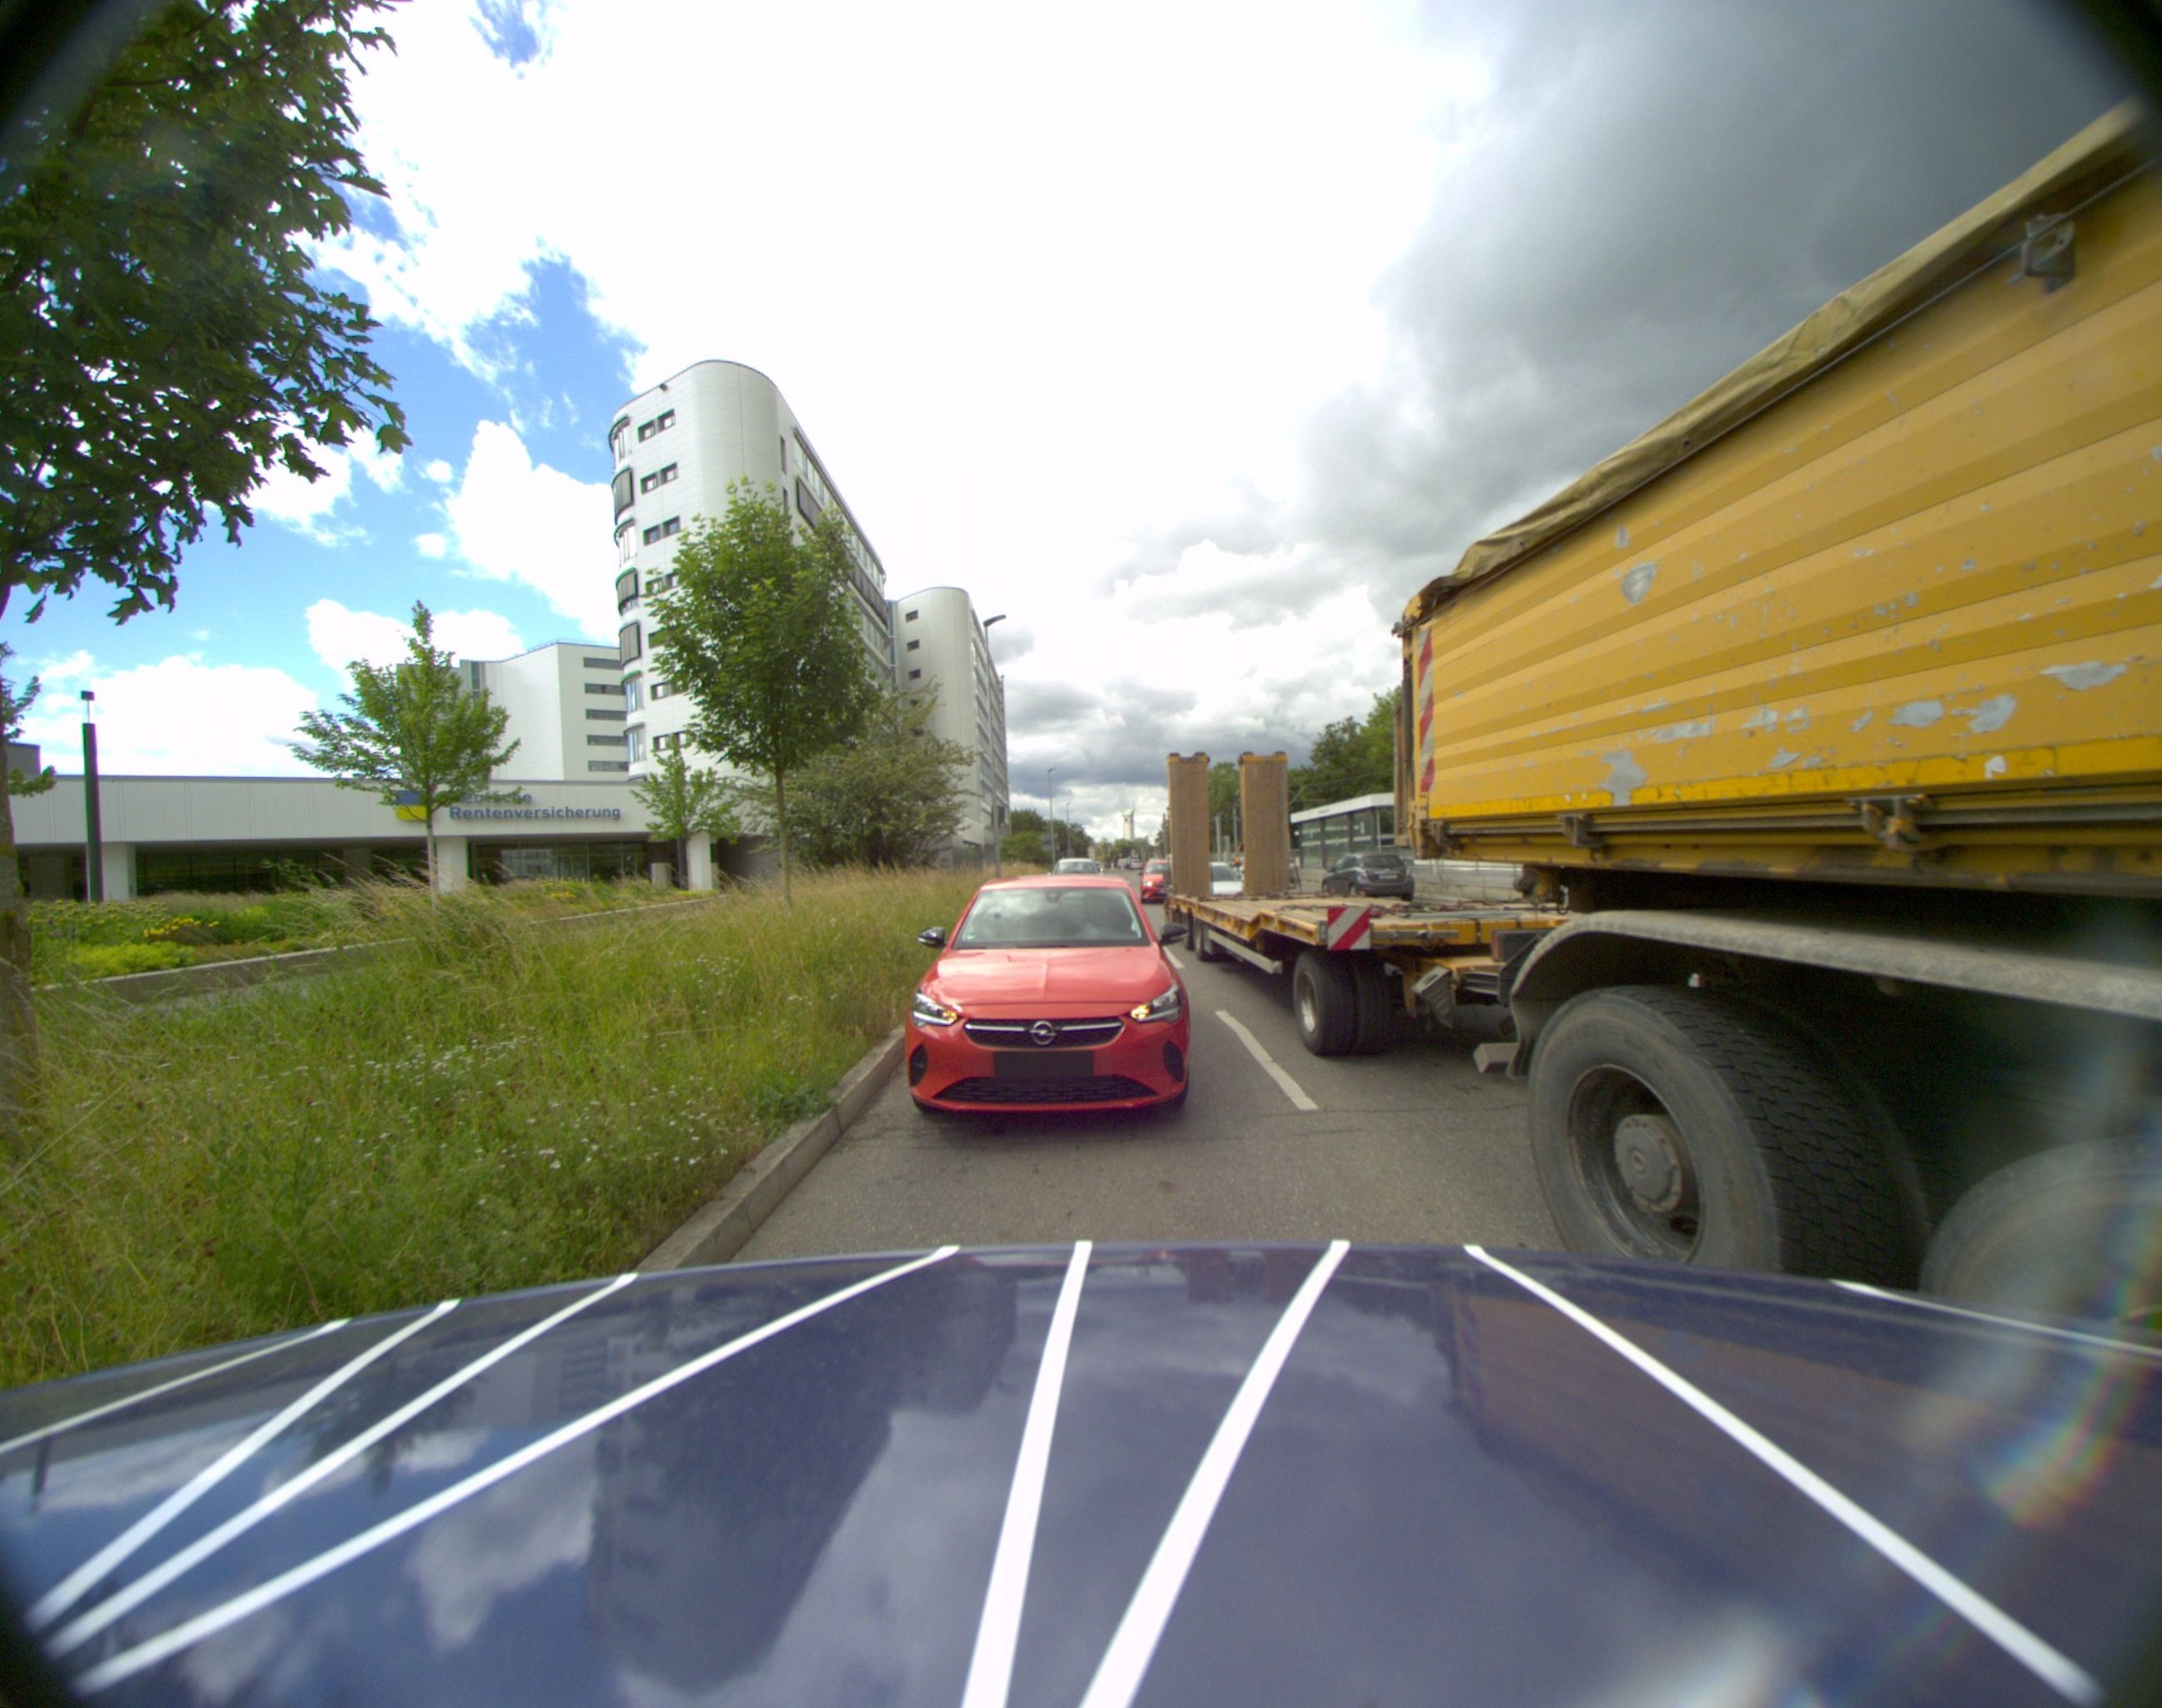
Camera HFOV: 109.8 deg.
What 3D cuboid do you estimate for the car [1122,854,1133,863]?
[{"bbox_3d":[8.867,0.865,144.447,1.770,1.489,3.554,-2,0,1],"label":"car"}]

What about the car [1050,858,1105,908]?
[{"bbox_3d":[-0.123,0.964,26.442,1.738,1.565,3.445,-2,0,0],"label":"car"}]

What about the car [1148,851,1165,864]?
[{"bbox_3d":[8.830,0.399,89.615,1.644,1.489,3.554,-2,0,1],"label":"car"}]

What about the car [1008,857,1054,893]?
[{"bbox_3d":[-2.333,0.971,36.514,1.850,1.565,4.623,-2,0,0],"label":"car"}]

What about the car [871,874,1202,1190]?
[{"bbox_3d":[-0.207,0.997,6.015,1.692,1.471,3.999,-2,1,1],"label":"car"}]

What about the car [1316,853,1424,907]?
[{"bbox_3d":[8.657,0.730,23.118,1.781,1.460,4.044,-2,0,1],"label":"car"}]

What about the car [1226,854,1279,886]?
[{"bbox_3d":[8.363,0.754,37.404,1.766,1.432,4.279,-2,0,2],"label":"car"}]

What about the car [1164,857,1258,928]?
[{"bbox_3d":[3.157,0.882,19.195,1.692,1.471,3.999,-2,1,1],"label":"car"}]

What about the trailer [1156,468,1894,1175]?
[{"bbox_3d":[2.805,-0.155,9.331,2.713,3.501,10.914,-2,0,1],"label":"trailer"}]

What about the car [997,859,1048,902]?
[{"bbox_3d":[-2.296,1.017,30.657,1.738,1.565,3.445,-2,0,0],"label":"car"}]

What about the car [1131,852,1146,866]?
[{"bbox_3d":[8.454,0.764,111.805,1.998,2.002,4.000,-2,0,1],"label":"car"}]

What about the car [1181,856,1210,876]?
[{"bbox_3d":[8.703,0.885,57.950,1.705,1.449,3.566,-2,0,1],"label":"car"}]

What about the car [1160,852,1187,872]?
[{"bbox_3d":[8.461,0.721,69.652,1.887,1.761,4.864,-2,0,1],"label":"car"}]

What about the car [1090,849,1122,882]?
[{"bbox_3d":[1.640,0.746,50.926,1.998,2.002,4.000,-2,0,1],"label":"car"}]

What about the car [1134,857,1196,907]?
[{"bbox_3d":[2.826,0.893,26.173,1.692,1.471,3.999,-2,1,1],"label":"car"}]
